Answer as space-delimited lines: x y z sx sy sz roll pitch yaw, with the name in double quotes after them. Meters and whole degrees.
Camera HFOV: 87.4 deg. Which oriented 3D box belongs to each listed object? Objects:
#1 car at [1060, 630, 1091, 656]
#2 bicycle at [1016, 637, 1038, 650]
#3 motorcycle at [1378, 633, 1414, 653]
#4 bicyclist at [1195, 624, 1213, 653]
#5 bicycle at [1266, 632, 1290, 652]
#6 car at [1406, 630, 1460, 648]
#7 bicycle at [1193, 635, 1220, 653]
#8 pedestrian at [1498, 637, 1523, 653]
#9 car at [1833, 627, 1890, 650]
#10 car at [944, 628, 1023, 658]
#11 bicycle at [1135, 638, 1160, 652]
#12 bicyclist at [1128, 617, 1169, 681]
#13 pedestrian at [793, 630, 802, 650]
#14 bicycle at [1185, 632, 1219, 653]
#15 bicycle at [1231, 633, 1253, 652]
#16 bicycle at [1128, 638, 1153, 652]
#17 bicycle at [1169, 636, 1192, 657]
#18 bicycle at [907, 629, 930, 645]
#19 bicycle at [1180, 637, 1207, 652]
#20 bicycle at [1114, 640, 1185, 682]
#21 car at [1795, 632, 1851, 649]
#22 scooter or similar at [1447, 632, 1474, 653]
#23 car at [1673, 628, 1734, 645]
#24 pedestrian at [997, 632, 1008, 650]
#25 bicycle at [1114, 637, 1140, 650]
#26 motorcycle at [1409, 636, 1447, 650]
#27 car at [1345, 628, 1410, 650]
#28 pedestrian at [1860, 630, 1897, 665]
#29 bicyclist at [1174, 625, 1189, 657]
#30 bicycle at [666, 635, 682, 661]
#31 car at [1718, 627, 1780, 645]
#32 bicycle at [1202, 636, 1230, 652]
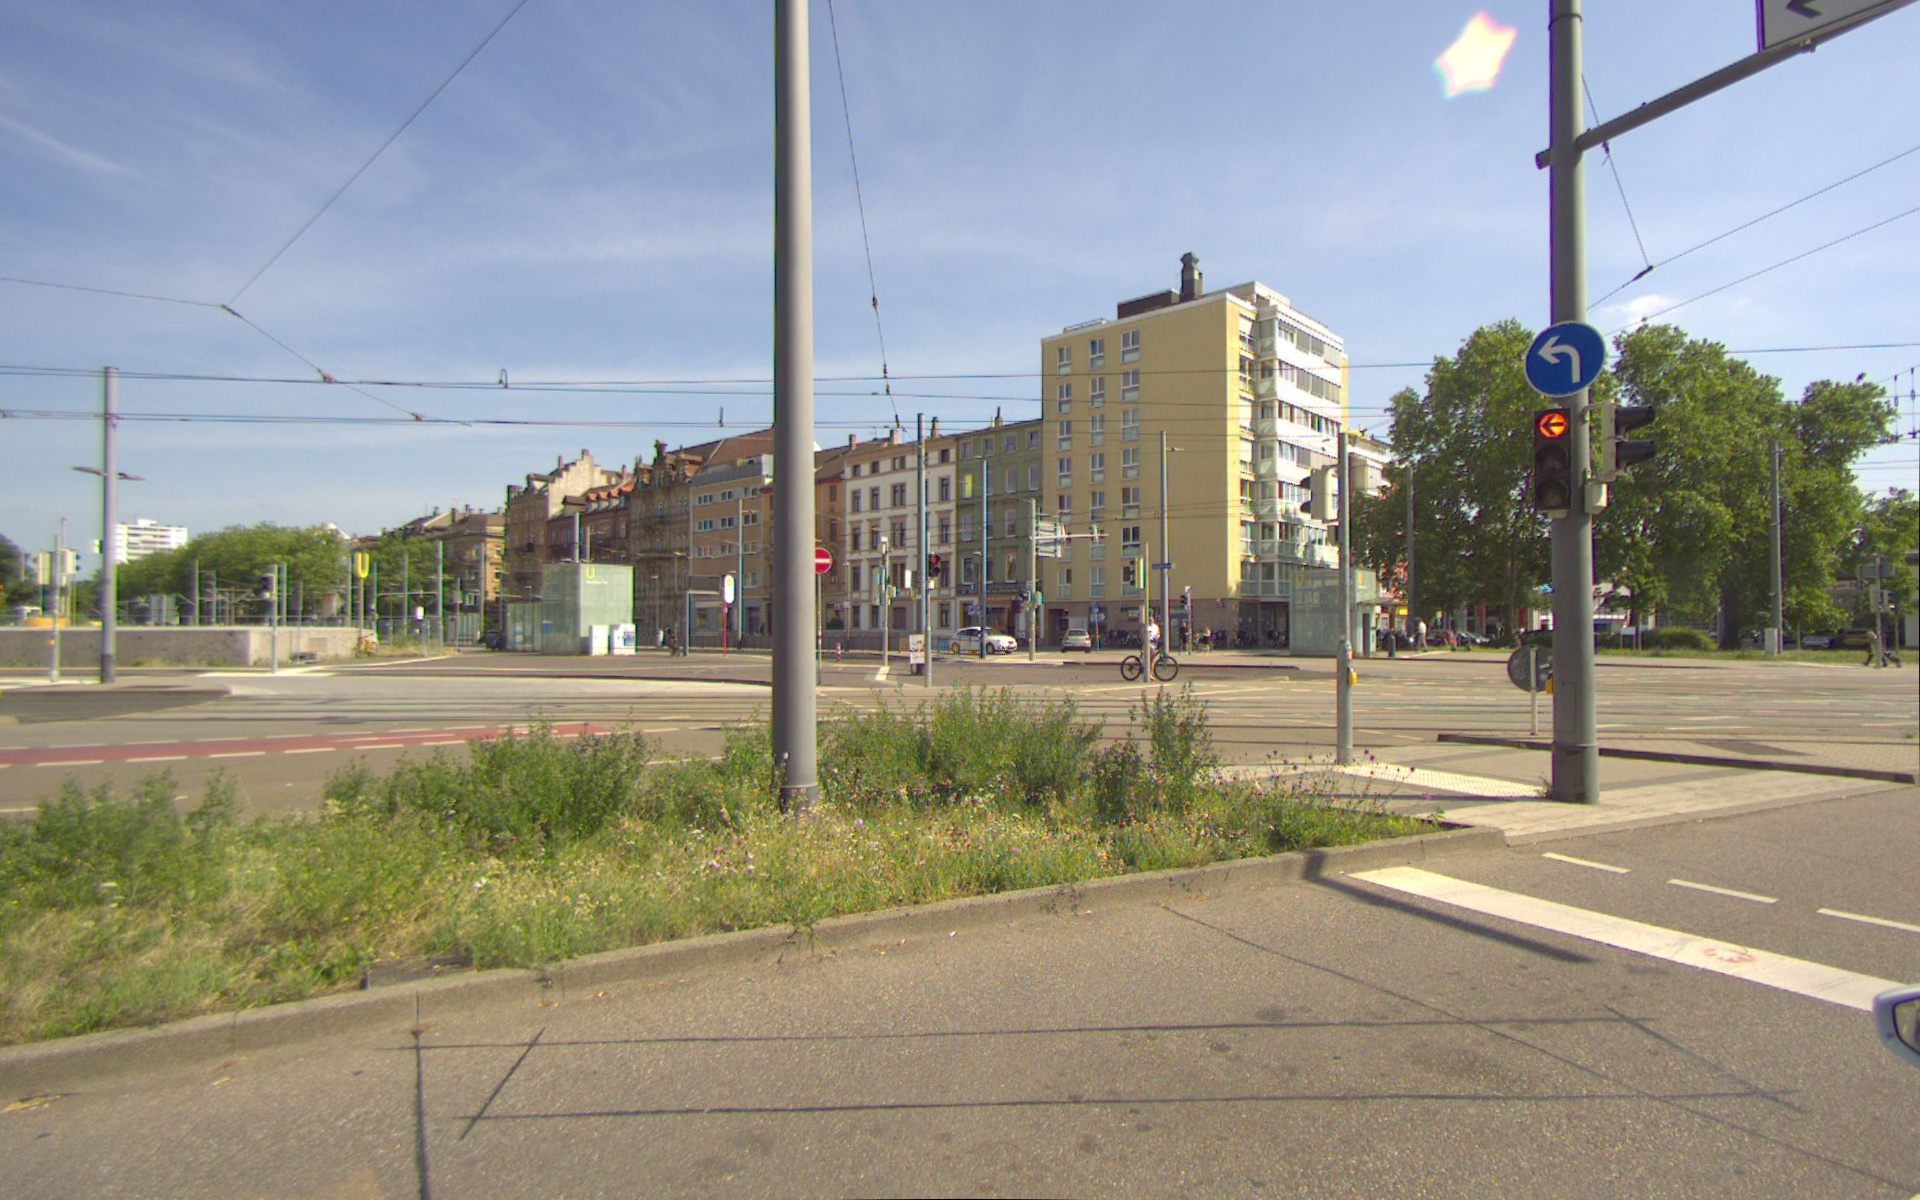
7.108 2.663 62.104 1.777 1.458 4.004 1 -4 4 "car"
5.098 3.294 76.336 1.755 0.977 0.412 -2 0 43 "bicycle"
24.883 2.451 57.401 0.631 1.076 2.028 0 -2 -22 "motorcycle"
13.155 2.086 54.227 0.605 1.593 0.728 1 -3 -29 "bicyclist"
20.560 2.718 64.879 1.740 1.235 0.578 0 -1 -37 "bicycle"
39.008 3.209 82.894 3.684 1.358 1.733 1 0 44 "car"
15.970 2.854 65.005 0.578 1.100 1.740 -3 0 -34 "bicycle"
32.394 2.643 59.125 1.159 0.904 0.818 -1 -2 41 "pedestrian"
71.756 3.073 79.957 3.946 1.706 1.988 2 0 -25 "car"
1.219 2.279 53.703 4.067 1.417 1.749 -1 1 43 "car"
12.841 3.065 68.968 0.579 0.928 1.737 0 -2 -39 "bicycle"
5.127 1.332 27.294 0.745 1.706 0.768 2 -4 -40 "bicyclist"
-13.577 3.317 83.741 0.518 1.687 0.551 -2 -2 43 "pedestrian"
13.053 2.282 54.179 1.775 1.145 0.749 1 -2 -30 "bicycle"
18.456 2.793 65.788 0.534 1.201 1.878 -1 -2 45 "bicycle"
12.331 3.048 68.736 0.579 0.928 1.737 0 -2 -39 "bicycle"
12.183 2.572 55.470 0.575 1.145 1.790 -2 -3 37 "bicycle"
-2.932 2.631 71.280 0.589 1.109 1.738 0 -2 43 "bicycle"
15.406 2.940 66.373 0.579 0.978 1.736 0 -2 -41 "bicycle"
5.125 1.648 27.302 0.745 1.098 1.828 2 -4 -40 "bicycle"
70.282 3.260 81.818 3.946 1.261 1.988 2 0 -25 "car"
27.185 2.310 54.546 0.509 1.134 1.358 0 -1 -19 "scooter or similar"
66.741 3.288 90.189 1.976 1.390 3.968 2 0 -30 "car"
3.306 3.177 78.323 0.637 1.392 0.524 -1 -2 43 "pedestrian"
11.639 3.034 70.067 1.733 0.928 0.580 -2 -2 44 "bicycle"
28.419 2.612 60.973 1.997 0.853 0.641 0 -1 4 "motorcycle"
30.618 2.826 73.690 3.945 1.459 1.879 1 0 44 "car"
39.180 2.025 42.855 1.100 1.422 0.654 2 0 39 "pedestrian"
12.205 2.259 55.302 0.575 1.757 0.615 -2 -3 37 "bicyclist"
-13.084 2.185 45.941 0.408 1.085 1.651 0 0 -28 "bicycle"
70.441 3.227 89.706 1.977 1.572 3.967 1 -2 -31 "car"
16.597 2.862 65.230 0.579 1.056 1.737 0 -2 -40 "bicycle"
